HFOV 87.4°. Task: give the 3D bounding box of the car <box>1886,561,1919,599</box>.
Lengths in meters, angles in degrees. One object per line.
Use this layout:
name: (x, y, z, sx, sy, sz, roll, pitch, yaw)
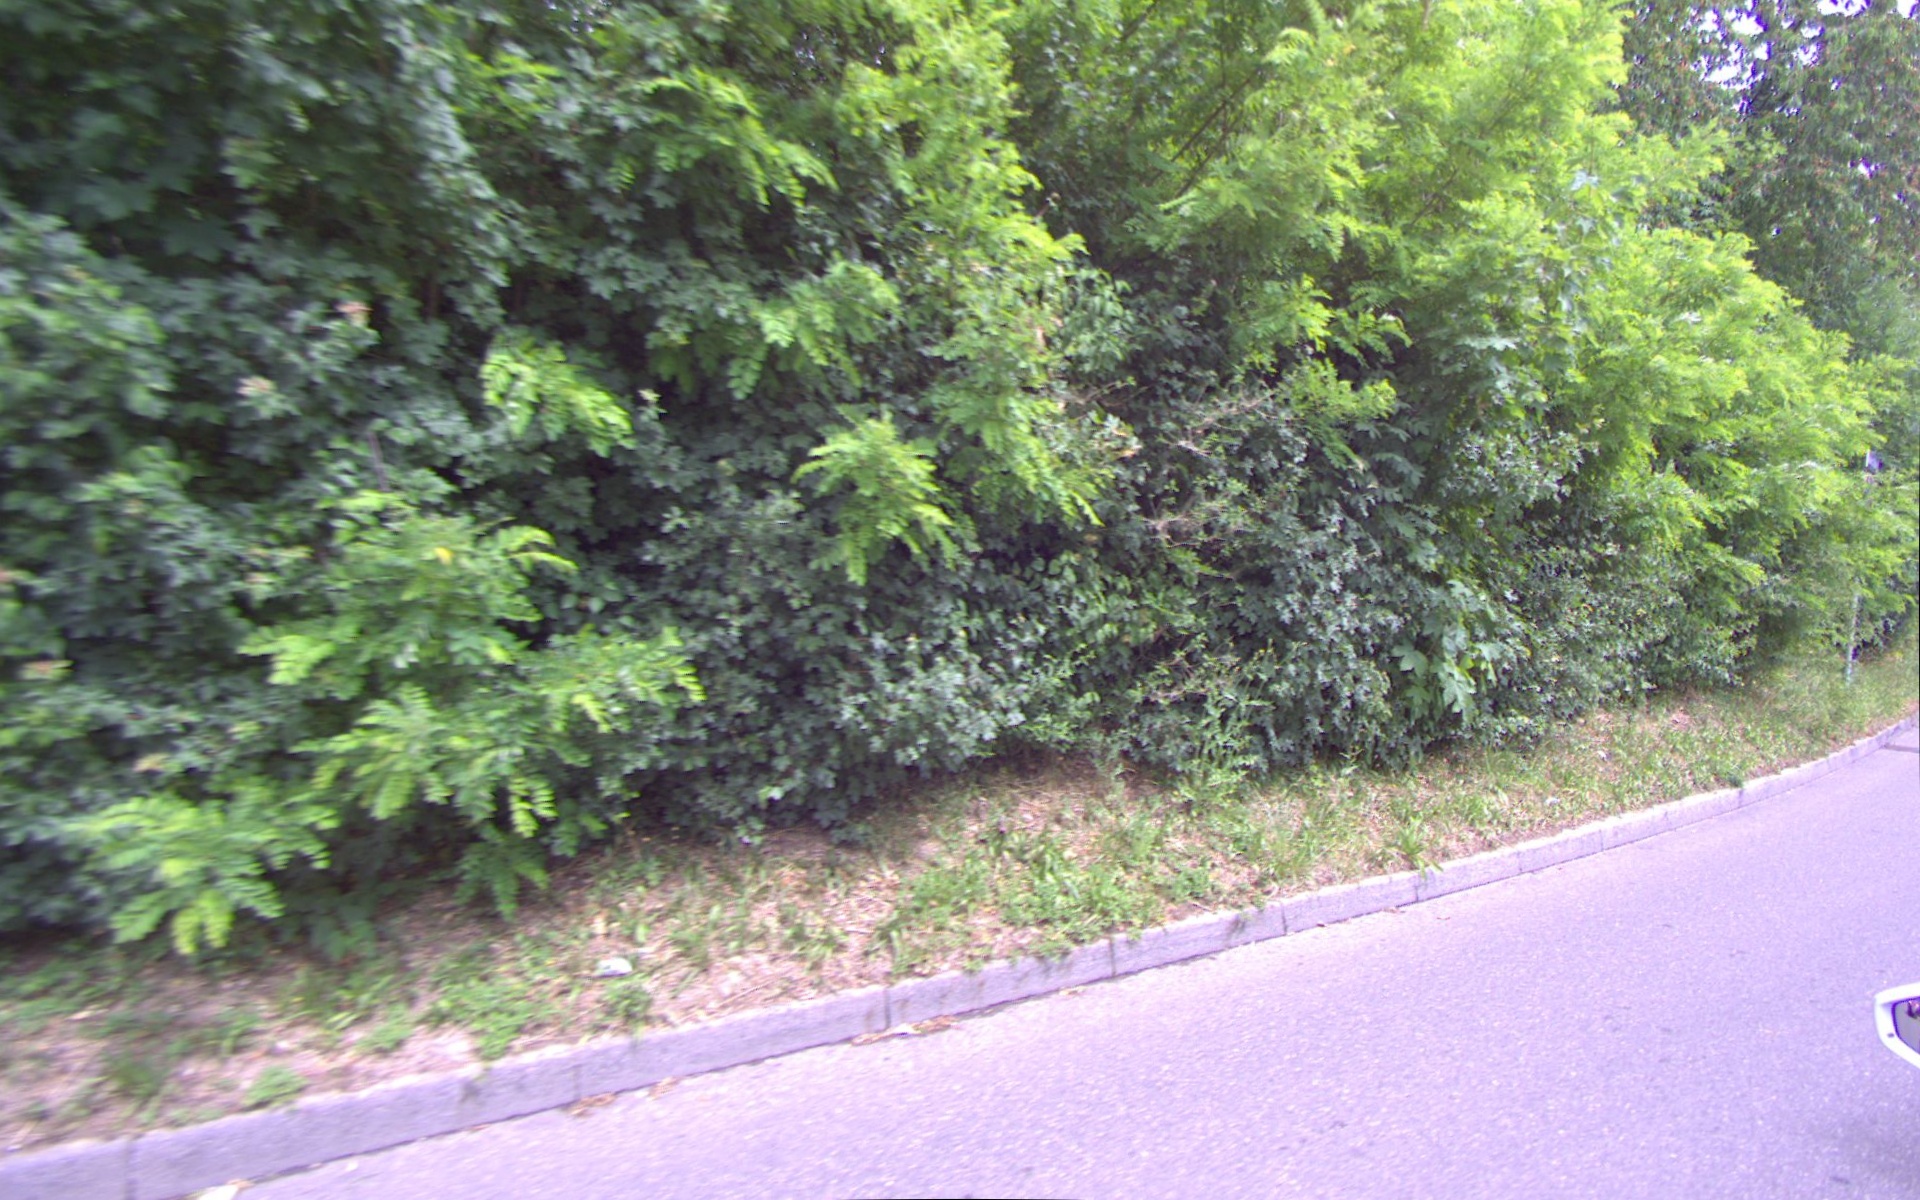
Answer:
car: (46.382, -0.973, 48.018, 1.857, 1.710, 4.347, 0, 2, 25)
